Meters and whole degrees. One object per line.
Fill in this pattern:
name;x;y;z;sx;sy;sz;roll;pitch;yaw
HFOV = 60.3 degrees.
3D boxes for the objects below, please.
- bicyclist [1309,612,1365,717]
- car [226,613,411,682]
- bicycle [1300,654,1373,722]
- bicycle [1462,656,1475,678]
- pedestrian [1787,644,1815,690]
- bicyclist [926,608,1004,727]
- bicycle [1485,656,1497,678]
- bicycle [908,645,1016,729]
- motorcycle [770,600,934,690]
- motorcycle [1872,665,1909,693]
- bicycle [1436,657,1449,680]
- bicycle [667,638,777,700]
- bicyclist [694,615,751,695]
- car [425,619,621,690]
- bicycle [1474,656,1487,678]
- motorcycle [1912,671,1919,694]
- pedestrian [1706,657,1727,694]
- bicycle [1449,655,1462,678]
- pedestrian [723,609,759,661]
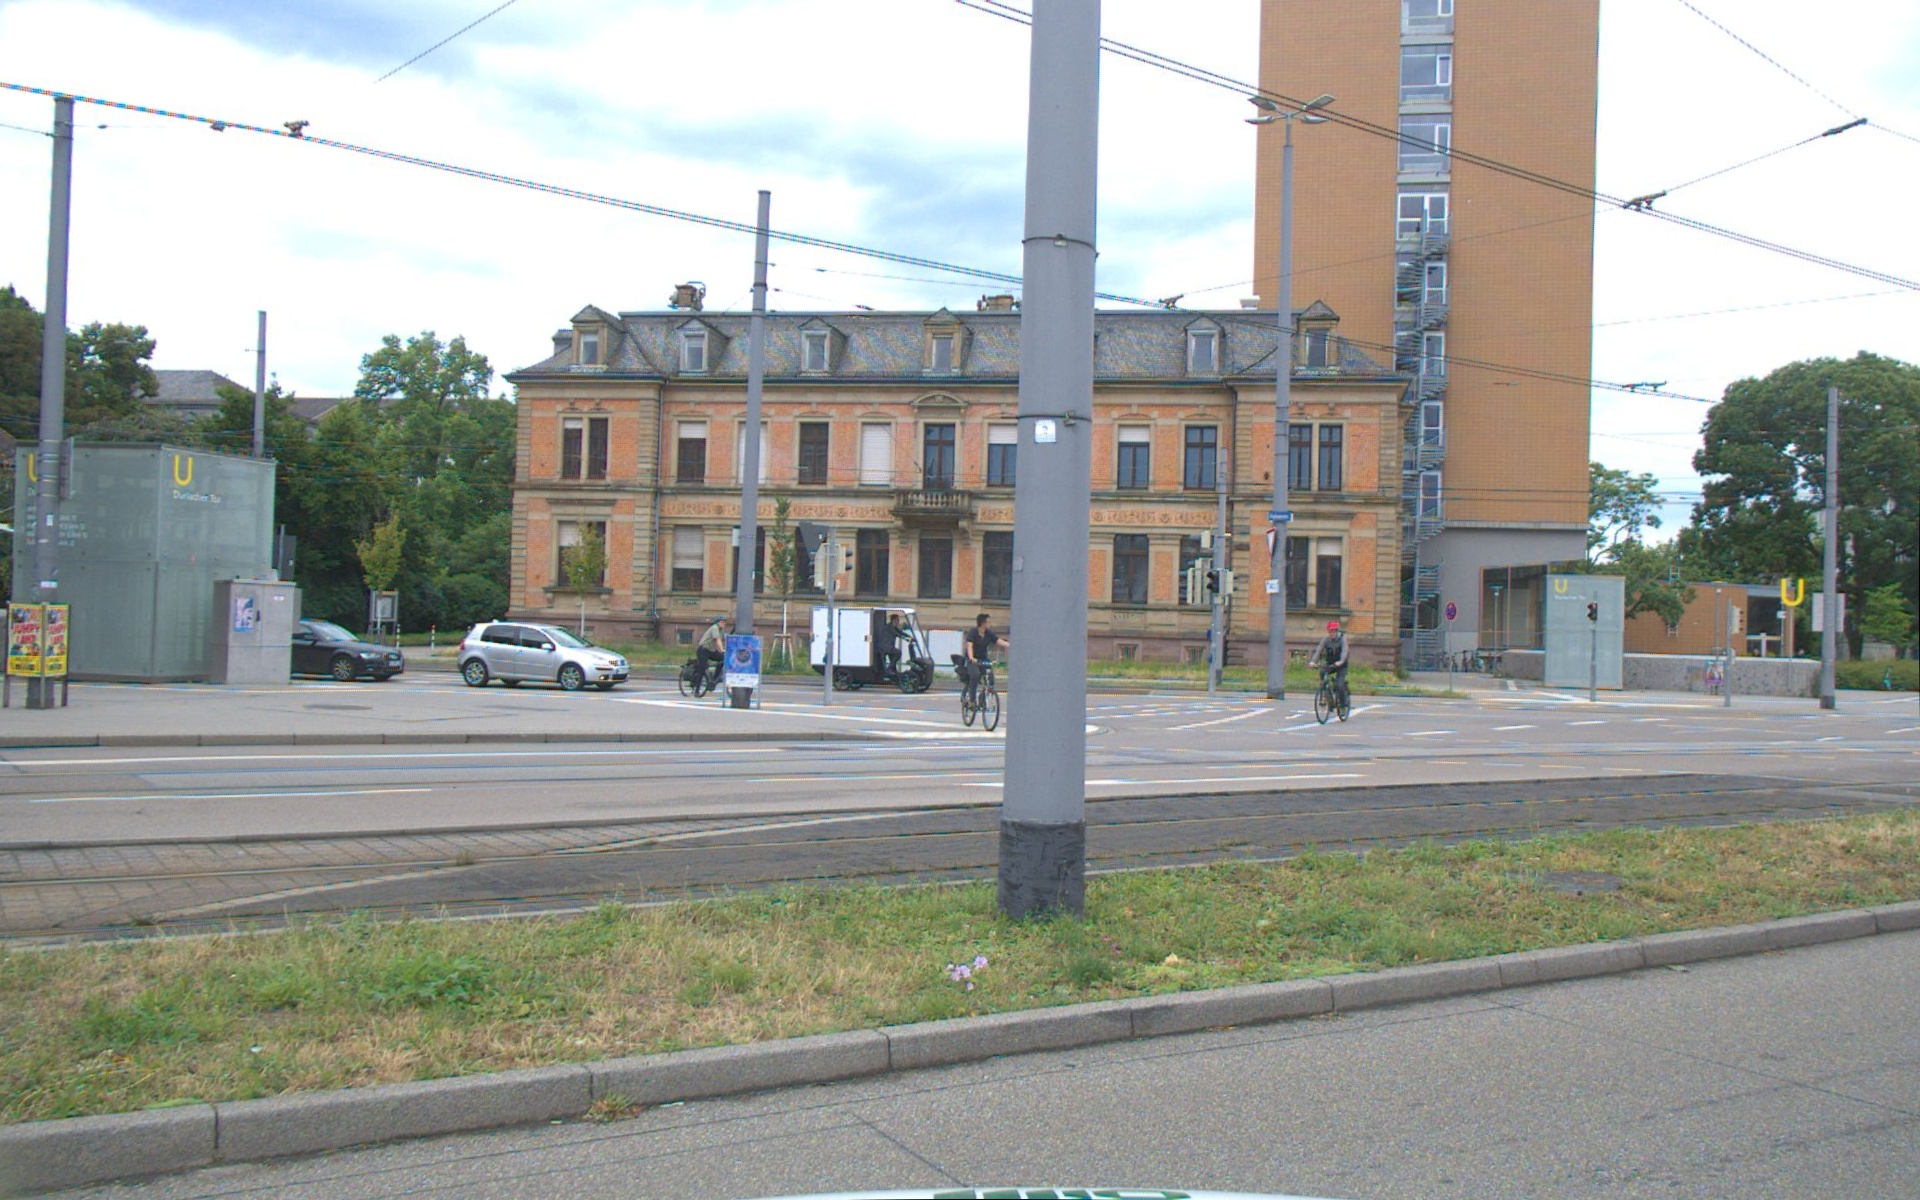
bicyclist;7.129;1.211;31.251;0.813;1.925;1.047;0;-2;27
car;-15.522;1.124;40.052;4.044;1.474;1.697;2;-1;21
bicycle;7.139;1.644;31.268;0.808;1.229;2.231;0;-2;27
bicycle;26.134;3.431;84.977;0.497;1.067;1.429;2;-1;14
pedestrian;38.526;3.067;75.749;1.004;2.049;0.842;1;-2;37
bicyclist;0.076;1.040;26.090;0.805;1.830;1.018;1;-1;-32
bicycle;27.217;3.431;84.773;0.470;1.067;1.429;2;-1;14
bicycle;0.020;1.353;26.176;0.805;1.264;1.978;1;-2;-31
motorcycle;-2.636;1.088;40.519;3.597;2.049;1.697;2;-1;15
motorcycle;45.190;3.849;80.324;1.436;1.290;0.512;2;-1;10
bicycle;24.847;3.518;85.246;0.558;1.125;1.429;2;-1;14
bicycle;-5.095;1.475;35.412;2.144;1.229;0.858;1;-2;16
bicyclist;-5.079;1.174;35.424;0.895;1.652;0.855;1;-2;16
car;-10.115;1.240;38.291;4.061;1.479;1.762;2;-1;19
bicycle;26.713;3.430;84.896;0.470;1.067;1.429;2;-1;14
motorcycle;47.269;4.037;80.603;1.714;1.131;0.508;2;-1;-21
pedestrian;28.167;2.816;61.594;0.560;1.359;0.499;2;-1;6
bicycle;25.501;3.408;85.129;0.558;1.125;1.429;2;-1;14
pedestrian;-7.773;1.256;58.735;1.100;1.794;0.758;2;-1;4
